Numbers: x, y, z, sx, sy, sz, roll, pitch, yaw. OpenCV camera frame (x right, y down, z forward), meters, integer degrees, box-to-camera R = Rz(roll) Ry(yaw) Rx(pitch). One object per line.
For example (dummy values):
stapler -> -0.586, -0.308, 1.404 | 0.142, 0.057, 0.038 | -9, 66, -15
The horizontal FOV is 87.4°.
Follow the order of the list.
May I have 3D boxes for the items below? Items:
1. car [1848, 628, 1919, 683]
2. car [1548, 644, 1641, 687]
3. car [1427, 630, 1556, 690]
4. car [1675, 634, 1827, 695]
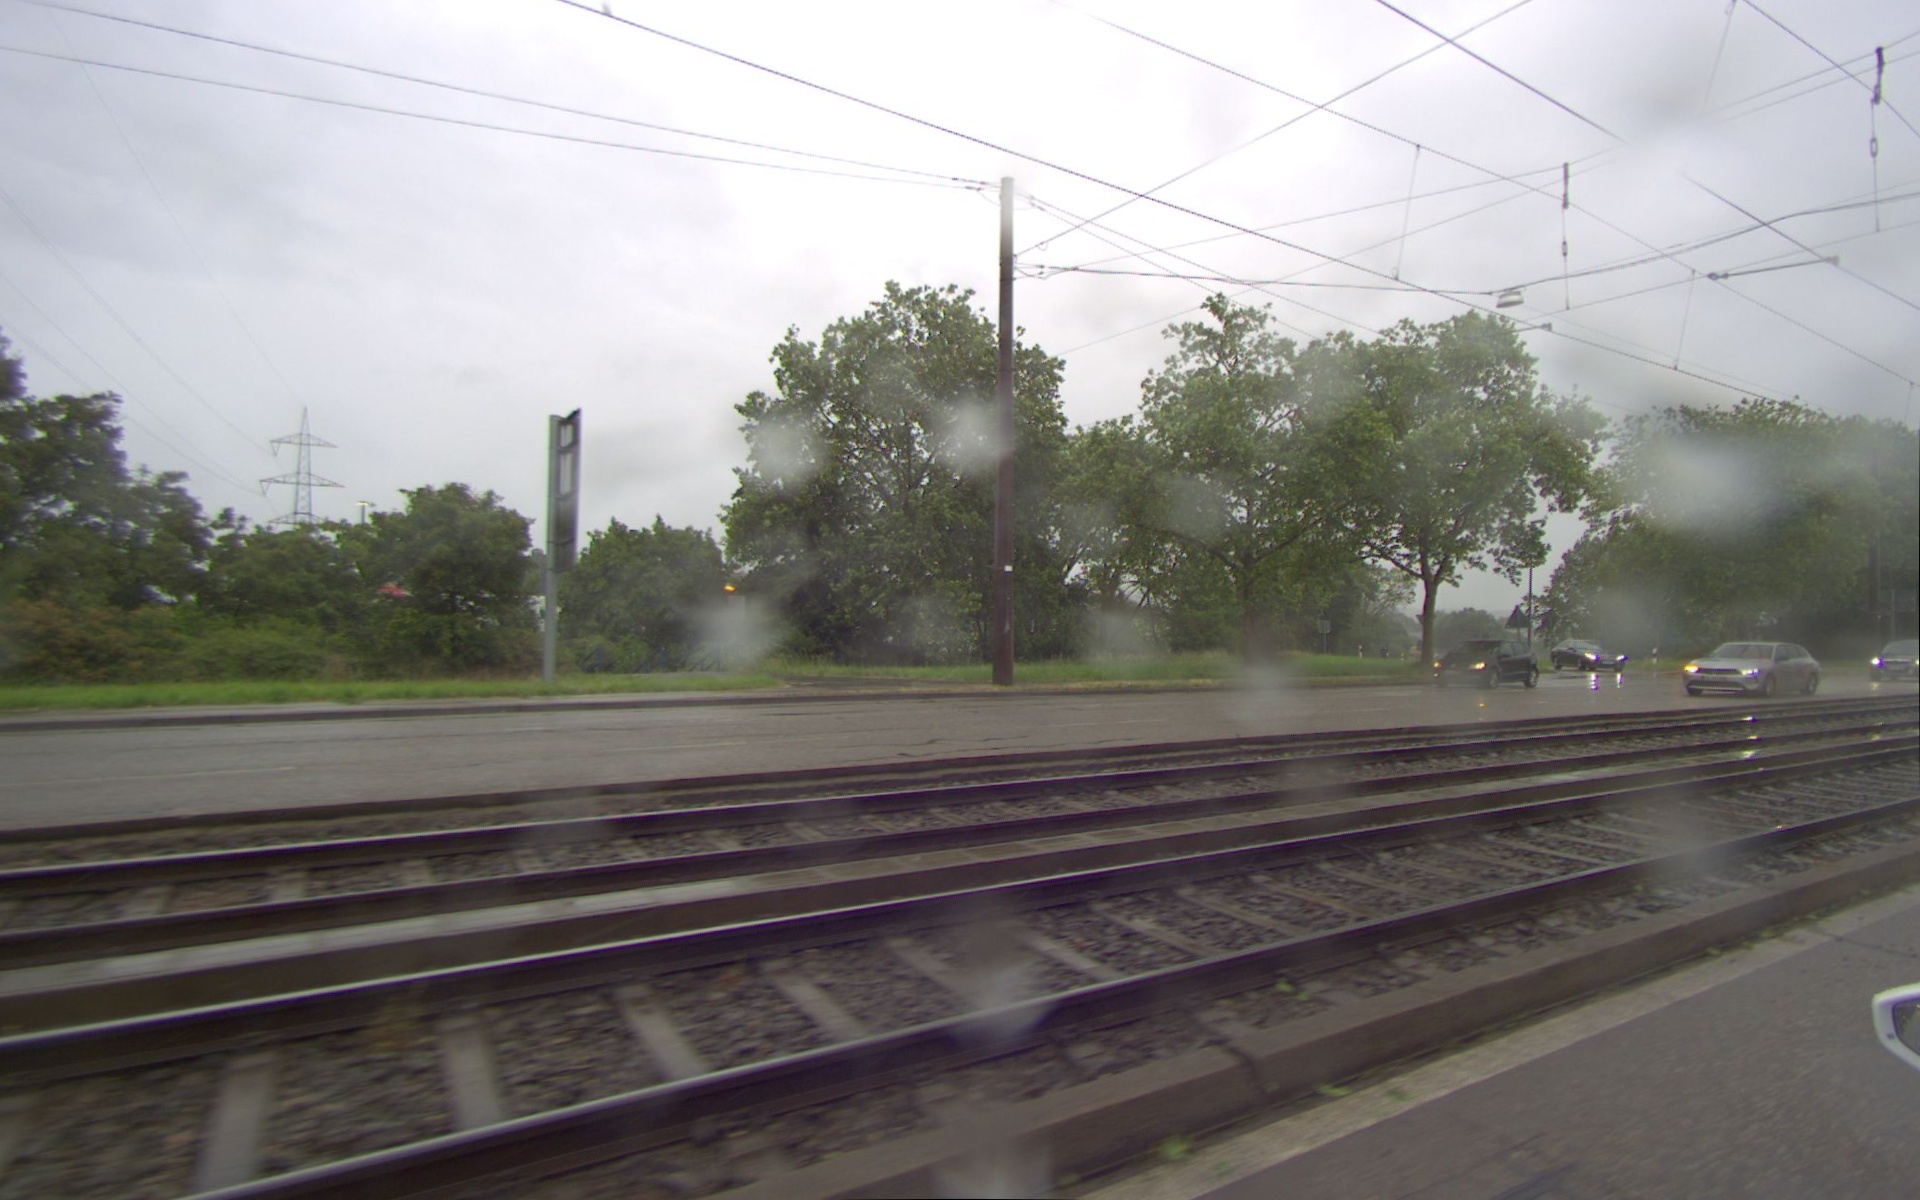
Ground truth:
car -> 35.447, 2.014, 37.788 | 4.952, 1.834, 1.875 | 0, 1, -34
car -> 30.439, 3.119, 48.357 | 1.810, 1.709, 4.651 | 1, 1, 5
car -> 15.846, 1.742, 29.897 | 3.957, 1.573, 1.679 | 0, 1, -33
car -> 20.996, 1.645, 26.628 | 4.495, 1.372, 1.732 | 0, 1, -32
